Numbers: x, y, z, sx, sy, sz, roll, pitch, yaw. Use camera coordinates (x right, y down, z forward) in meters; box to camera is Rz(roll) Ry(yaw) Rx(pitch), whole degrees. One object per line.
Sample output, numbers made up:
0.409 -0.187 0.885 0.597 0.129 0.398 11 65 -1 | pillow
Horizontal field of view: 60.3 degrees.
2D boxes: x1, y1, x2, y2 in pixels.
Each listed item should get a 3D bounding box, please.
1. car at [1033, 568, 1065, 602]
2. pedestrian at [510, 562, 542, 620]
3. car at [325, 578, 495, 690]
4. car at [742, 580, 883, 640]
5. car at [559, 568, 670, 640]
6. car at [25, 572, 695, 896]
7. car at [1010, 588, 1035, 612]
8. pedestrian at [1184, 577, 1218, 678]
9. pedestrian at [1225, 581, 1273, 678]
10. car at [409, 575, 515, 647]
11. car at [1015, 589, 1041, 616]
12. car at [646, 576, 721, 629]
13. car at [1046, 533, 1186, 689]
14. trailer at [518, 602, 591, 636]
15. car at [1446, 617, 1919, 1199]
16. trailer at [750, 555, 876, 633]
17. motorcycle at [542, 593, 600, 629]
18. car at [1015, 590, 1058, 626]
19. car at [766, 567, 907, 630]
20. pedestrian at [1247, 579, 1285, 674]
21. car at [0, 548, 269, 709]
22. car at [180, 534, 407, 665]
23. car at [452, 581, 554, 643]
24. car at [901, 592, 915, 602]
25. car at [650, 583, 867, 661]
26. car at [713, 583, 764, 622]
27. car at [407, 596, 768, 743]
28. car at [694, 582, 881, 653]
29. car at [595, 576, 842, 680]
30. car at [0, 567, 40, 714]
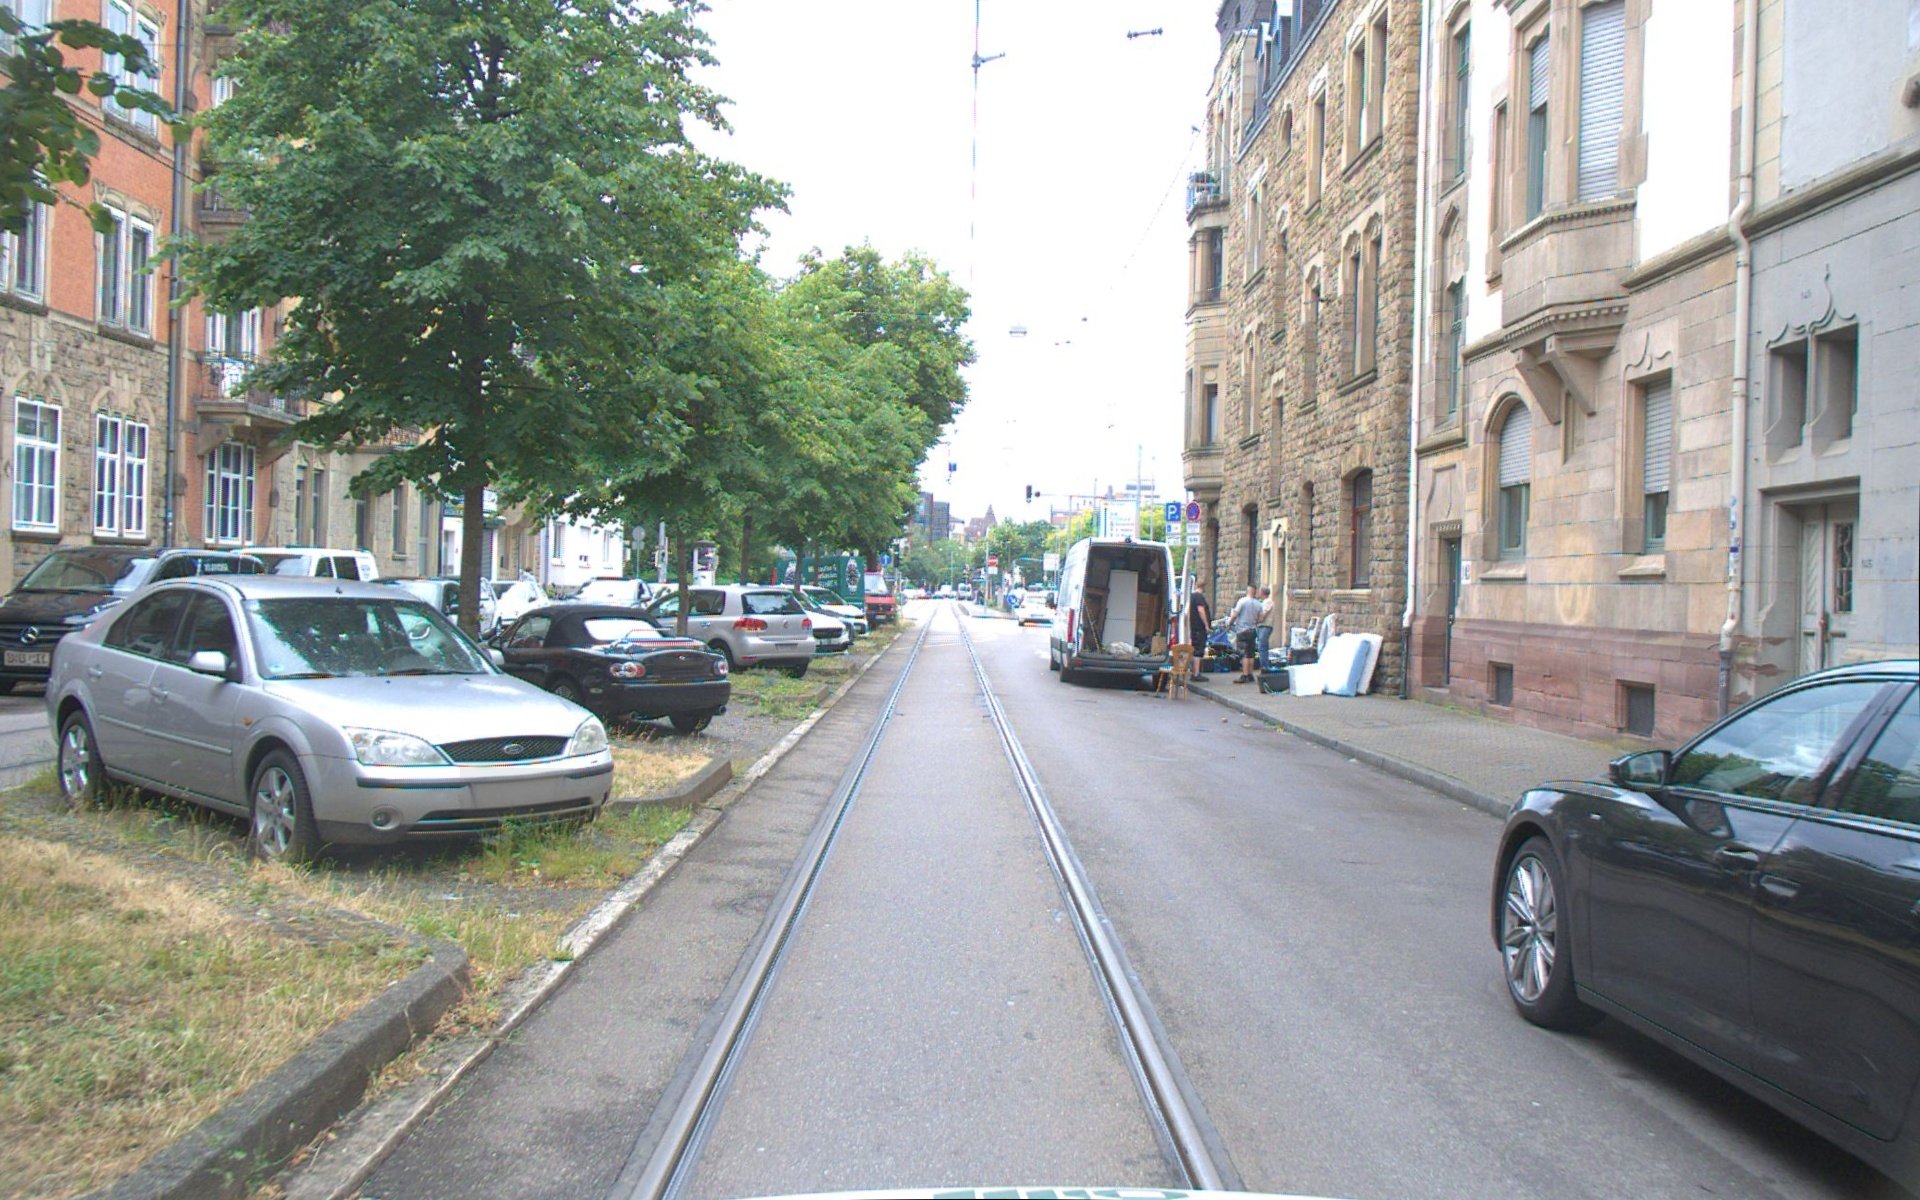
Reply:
5.388 -0.918 100.624 1.746 1.997 4.383 2 0 1 | car
-13.797 -0.283 52.564 0.781 1.797 0.900 1 0 -2 | pedestrian
-8.126 0.476 24.665 1.572 1.541 2.892 1 0 -1 | car
-4.047 0.258 44.963 3.795 1.488 1.679 2 0 42 | car
-8.276 0.088 39.957 1.768 1.606 4.545 1 0 -1 | car
-3.680 0.587 9.643 4.586 1.392 1.747 2 0 43 | car
5.622 -0.033 148.934 2.135 2.069 4.383 2 0 1 | car
4.484 0.503 30.787 0.488 1.847 0.803 -1 0 1 | pedestrian
5.254 0.535 30.053 0.694 1.729 0.488 -1 0 -28 | pedestrian
-11.497 0.233 38.338 1.602 1.577 2.950 1 0 -2 | car
5.286 0.143 128.282 1.746 1.997 4.382 2 0 0 | car
-8.618 0.078 51.869 1.610 1.530 4.621 1 0 -1 | car
2.869 0.163 31.953 1.972 2.593 7.017 3 0 0 | car
-11.584 0.525 47.402 1.425 0.908 3.075 0 0 -2 | trailer
3.095 0.861 4.742 1.764 1.463 5.195 2 1 -1 | car
-4.707 -0.219 52.930 3.594 2.385 1.926 1 0 33 | trailer
-11.874 0.334 50.564 0.694 1.057 2.231 1 0 16 | motorcycle
3.411 0.316 73.551 1.745 1.498 4.012 2 0 4 | car
-4.193 -0.065 55.831 4.676 2.009 1.951 1 0 38 | car
5.718 0.496 30.884 0.498 1.747 0.580 -1 0 -10 | pedestrian
-10.899 0.311 21.441 1.777 1.812 5.116 1 0 -1 | car
-11.183 -0.008 28.191 1.843 1.986 5.093 1 0 -1 | car
-11.646 0.286 42.375 1.602 1.468 3.922 1 0 -2 | car
-7.086 -0.399 227.469 1.726 1.411 4.000 1 0 0 | car
-4.291 0.424 34.850 4.600 1.460 1.889 2 0 39 | car
-9.042 0.096 67.657 1.610 1.530 3.882 1 0 -1 | car
-3.839 0.627 16.693 3.895 1.223 1.657 2 0 43 | car
-4.001 0.373 37.934 4.263 1.460 1.887 2 1 42 | car
-4.004 0.423 27.110 4.042 1.510 1.787 2 0 41 | car
-11.048 0.407 16.073 1.705 1.569 4.553 1 0 -1 | car
